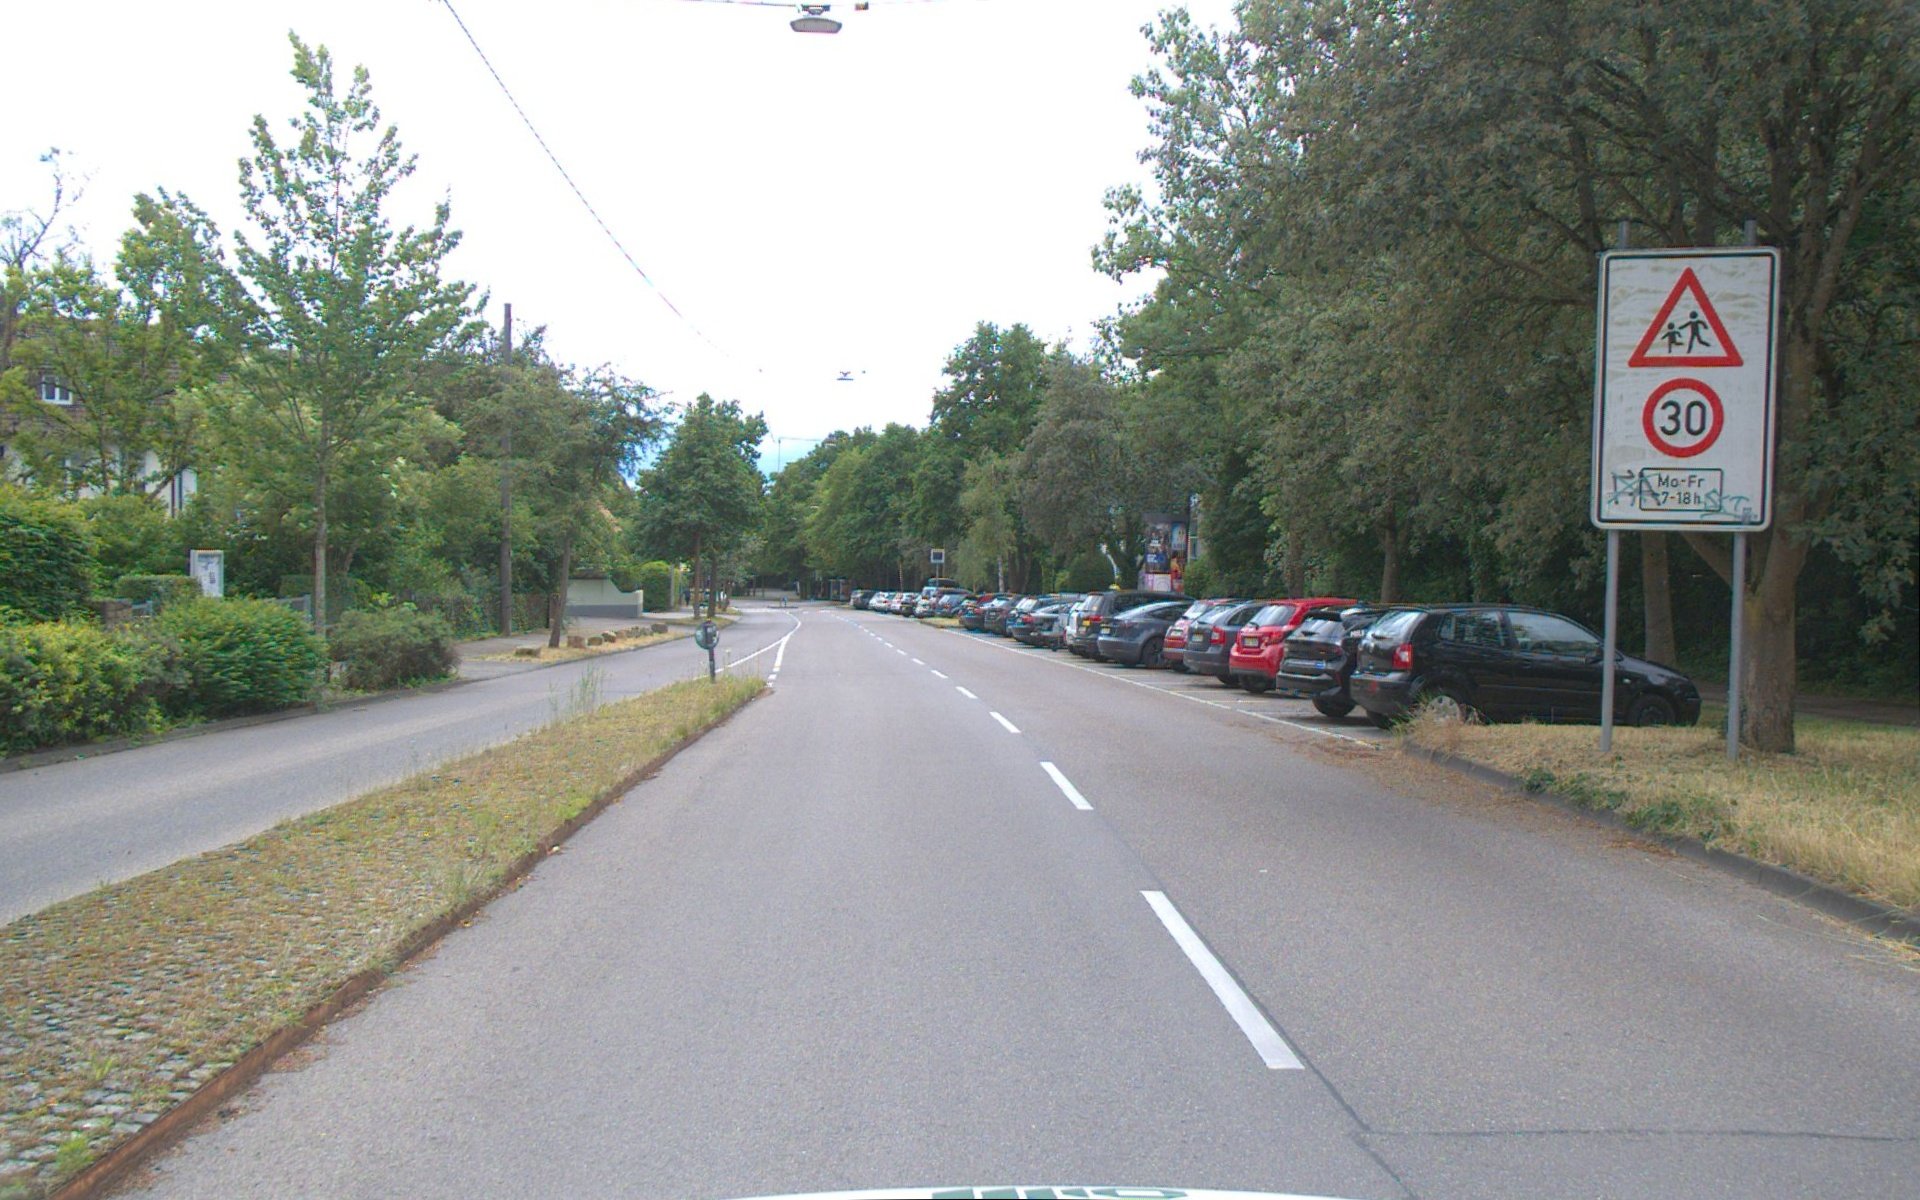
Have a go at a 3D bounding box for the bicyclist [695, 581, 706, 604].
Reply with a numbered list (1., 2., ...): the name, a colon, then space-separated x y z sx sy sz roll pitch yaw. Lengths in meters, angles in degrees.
1. bicyclist: -19.778 -0.599 126.021 0.829 1.727 0.712 1 1 -8

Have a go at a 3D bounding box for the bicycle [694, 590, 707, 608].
1. bicycle: -19.784 -0.056 126.027 0.829 1.288 2.648 1 1 -7

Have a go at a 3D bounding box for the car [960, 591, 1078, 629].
1. car: 2.279 0.376 63.859 4.247 1.364 1.724 1 0 -19

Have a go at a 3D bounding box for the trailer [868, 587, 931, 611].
1. trailer: -4.255 -0.063 116.598 4.101 1.600 1.699 2 0 -25

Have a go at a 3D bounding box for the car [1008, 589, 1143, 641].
1. car: 3.577 0.476 51.259 3.854 1.512 1.608 1 0 -21

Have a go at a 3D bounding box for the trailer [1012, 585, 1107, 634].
1. trailer: 3.377 0.334 56.295 2.940 1.569 1.296 1 1 -18

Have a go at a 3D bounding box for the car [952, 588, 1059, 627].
1. car: 1.849 0.305 66.672 4.024 1.542 1.718 1 0 -28

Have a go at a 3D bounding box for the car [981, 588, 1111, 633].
1. car: 3.031 0.380 58.453 4.279 1.470 1.625 1 1 -20

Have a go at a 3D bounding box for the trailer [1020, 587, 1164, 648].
1. trailer: 3.656 0.479 45.891 3.629 1.562 1.638 2 0 -17

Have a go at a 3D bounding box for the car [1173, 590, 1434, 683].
1. car: 5.954 0.627 28.756 4.148 1.489 1.629 1 0 -14

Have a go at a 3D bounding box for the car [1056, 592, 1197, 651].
1. car: 4.383 0.558 43.606 3.370 1.470 1.552 1 0 -18

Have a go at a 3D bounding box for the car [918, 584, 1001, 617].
1. car: -0.035 0.023 87.103 3.940 1.648 1.872 2 0 -22

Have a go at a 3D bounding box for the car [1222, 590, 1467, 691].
1. car: 6.097 0.641 26.273 3.468 1.502 1.584 1 0 -18

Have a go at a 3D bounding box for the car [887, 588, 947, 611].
1. car: -2.978 -0.018 114.543 3.838 1.474 1.729 1 0 -27

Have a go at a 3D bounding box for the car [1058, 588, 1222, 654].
1. car: 4.450 0.517 41.145 3.750 1.556 1.602 1 0 -10

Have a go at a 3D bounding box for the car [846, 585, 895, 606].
1. car: -7.569 -0.351 140.192 3.835 1.697 1.730 1 0 -25

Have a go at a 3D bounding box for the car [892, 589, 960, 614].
1. car: -2.124 0.086 103.356 3.842 1.474 1.826 1 0 -29

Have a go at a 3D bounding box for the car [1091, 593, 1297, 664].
1. car: 5.038 0.618 35.700 4.092 1.431 1.690 1 0 -16

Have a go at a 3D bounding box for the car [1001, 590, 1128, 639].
1. car: 3.386 0.466 53.820 3.779 1.480 1.626 1 0 -17

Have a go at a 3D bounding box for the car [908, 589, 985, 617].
1. car: -0.775 0.172 93.196 3.909 1.474 1.906 2 0 -21

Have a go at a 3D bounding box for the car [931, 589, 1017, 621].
1. car: 0.687 0.254 81.760 3.907 1.430 1.746 2 0 -20

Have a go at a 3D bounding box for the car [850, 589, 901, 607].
1. car: -7.018 -0.182 137.450 3.835 1.454 1.730 1 0 -25

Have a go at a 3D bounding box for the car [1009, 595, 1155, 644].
1. car: 3.566 0.560 48.387 3.969 1.351 1.553 1 -1 -14

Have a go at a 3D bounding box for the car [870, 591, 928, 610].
1. car: -4.387 0.036 119.219 3.843 1.332 1.726 1 0 -30

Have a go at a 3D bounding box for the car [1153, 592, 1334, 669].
1. car: 5.764 0.614 33.726 3.271 1.489 1.628 1 0 -15

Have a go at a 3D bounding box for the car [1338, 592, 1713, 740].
1. car: 6.286 0.713 18.555 3.646 1.502 1.574 1 1 -8

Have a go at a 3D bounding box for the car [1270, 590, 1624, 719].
1. car: 6.115 0.677 20.825 4.068 1.502 1.570 1 0 -16

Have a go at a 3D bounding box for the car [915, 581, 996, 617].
1. car: -0.243 -0.057 89.965 4.047 1.785 1.767 2 0 -32

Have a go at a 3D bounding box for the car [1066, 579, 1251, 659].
1. car: 4.597 0.436 38.360 3.919 1.755 1.674 1 0 -15

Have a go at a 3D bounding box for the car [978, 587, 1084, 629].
1. car: 2.623 0.296 61.313 3.558 1.470 1.624 1 0 -21

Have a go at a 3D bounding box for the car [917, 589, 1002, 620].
1. car: -0.021 0.217 84.181 3.974 1.430 1.744 2 0 -24
